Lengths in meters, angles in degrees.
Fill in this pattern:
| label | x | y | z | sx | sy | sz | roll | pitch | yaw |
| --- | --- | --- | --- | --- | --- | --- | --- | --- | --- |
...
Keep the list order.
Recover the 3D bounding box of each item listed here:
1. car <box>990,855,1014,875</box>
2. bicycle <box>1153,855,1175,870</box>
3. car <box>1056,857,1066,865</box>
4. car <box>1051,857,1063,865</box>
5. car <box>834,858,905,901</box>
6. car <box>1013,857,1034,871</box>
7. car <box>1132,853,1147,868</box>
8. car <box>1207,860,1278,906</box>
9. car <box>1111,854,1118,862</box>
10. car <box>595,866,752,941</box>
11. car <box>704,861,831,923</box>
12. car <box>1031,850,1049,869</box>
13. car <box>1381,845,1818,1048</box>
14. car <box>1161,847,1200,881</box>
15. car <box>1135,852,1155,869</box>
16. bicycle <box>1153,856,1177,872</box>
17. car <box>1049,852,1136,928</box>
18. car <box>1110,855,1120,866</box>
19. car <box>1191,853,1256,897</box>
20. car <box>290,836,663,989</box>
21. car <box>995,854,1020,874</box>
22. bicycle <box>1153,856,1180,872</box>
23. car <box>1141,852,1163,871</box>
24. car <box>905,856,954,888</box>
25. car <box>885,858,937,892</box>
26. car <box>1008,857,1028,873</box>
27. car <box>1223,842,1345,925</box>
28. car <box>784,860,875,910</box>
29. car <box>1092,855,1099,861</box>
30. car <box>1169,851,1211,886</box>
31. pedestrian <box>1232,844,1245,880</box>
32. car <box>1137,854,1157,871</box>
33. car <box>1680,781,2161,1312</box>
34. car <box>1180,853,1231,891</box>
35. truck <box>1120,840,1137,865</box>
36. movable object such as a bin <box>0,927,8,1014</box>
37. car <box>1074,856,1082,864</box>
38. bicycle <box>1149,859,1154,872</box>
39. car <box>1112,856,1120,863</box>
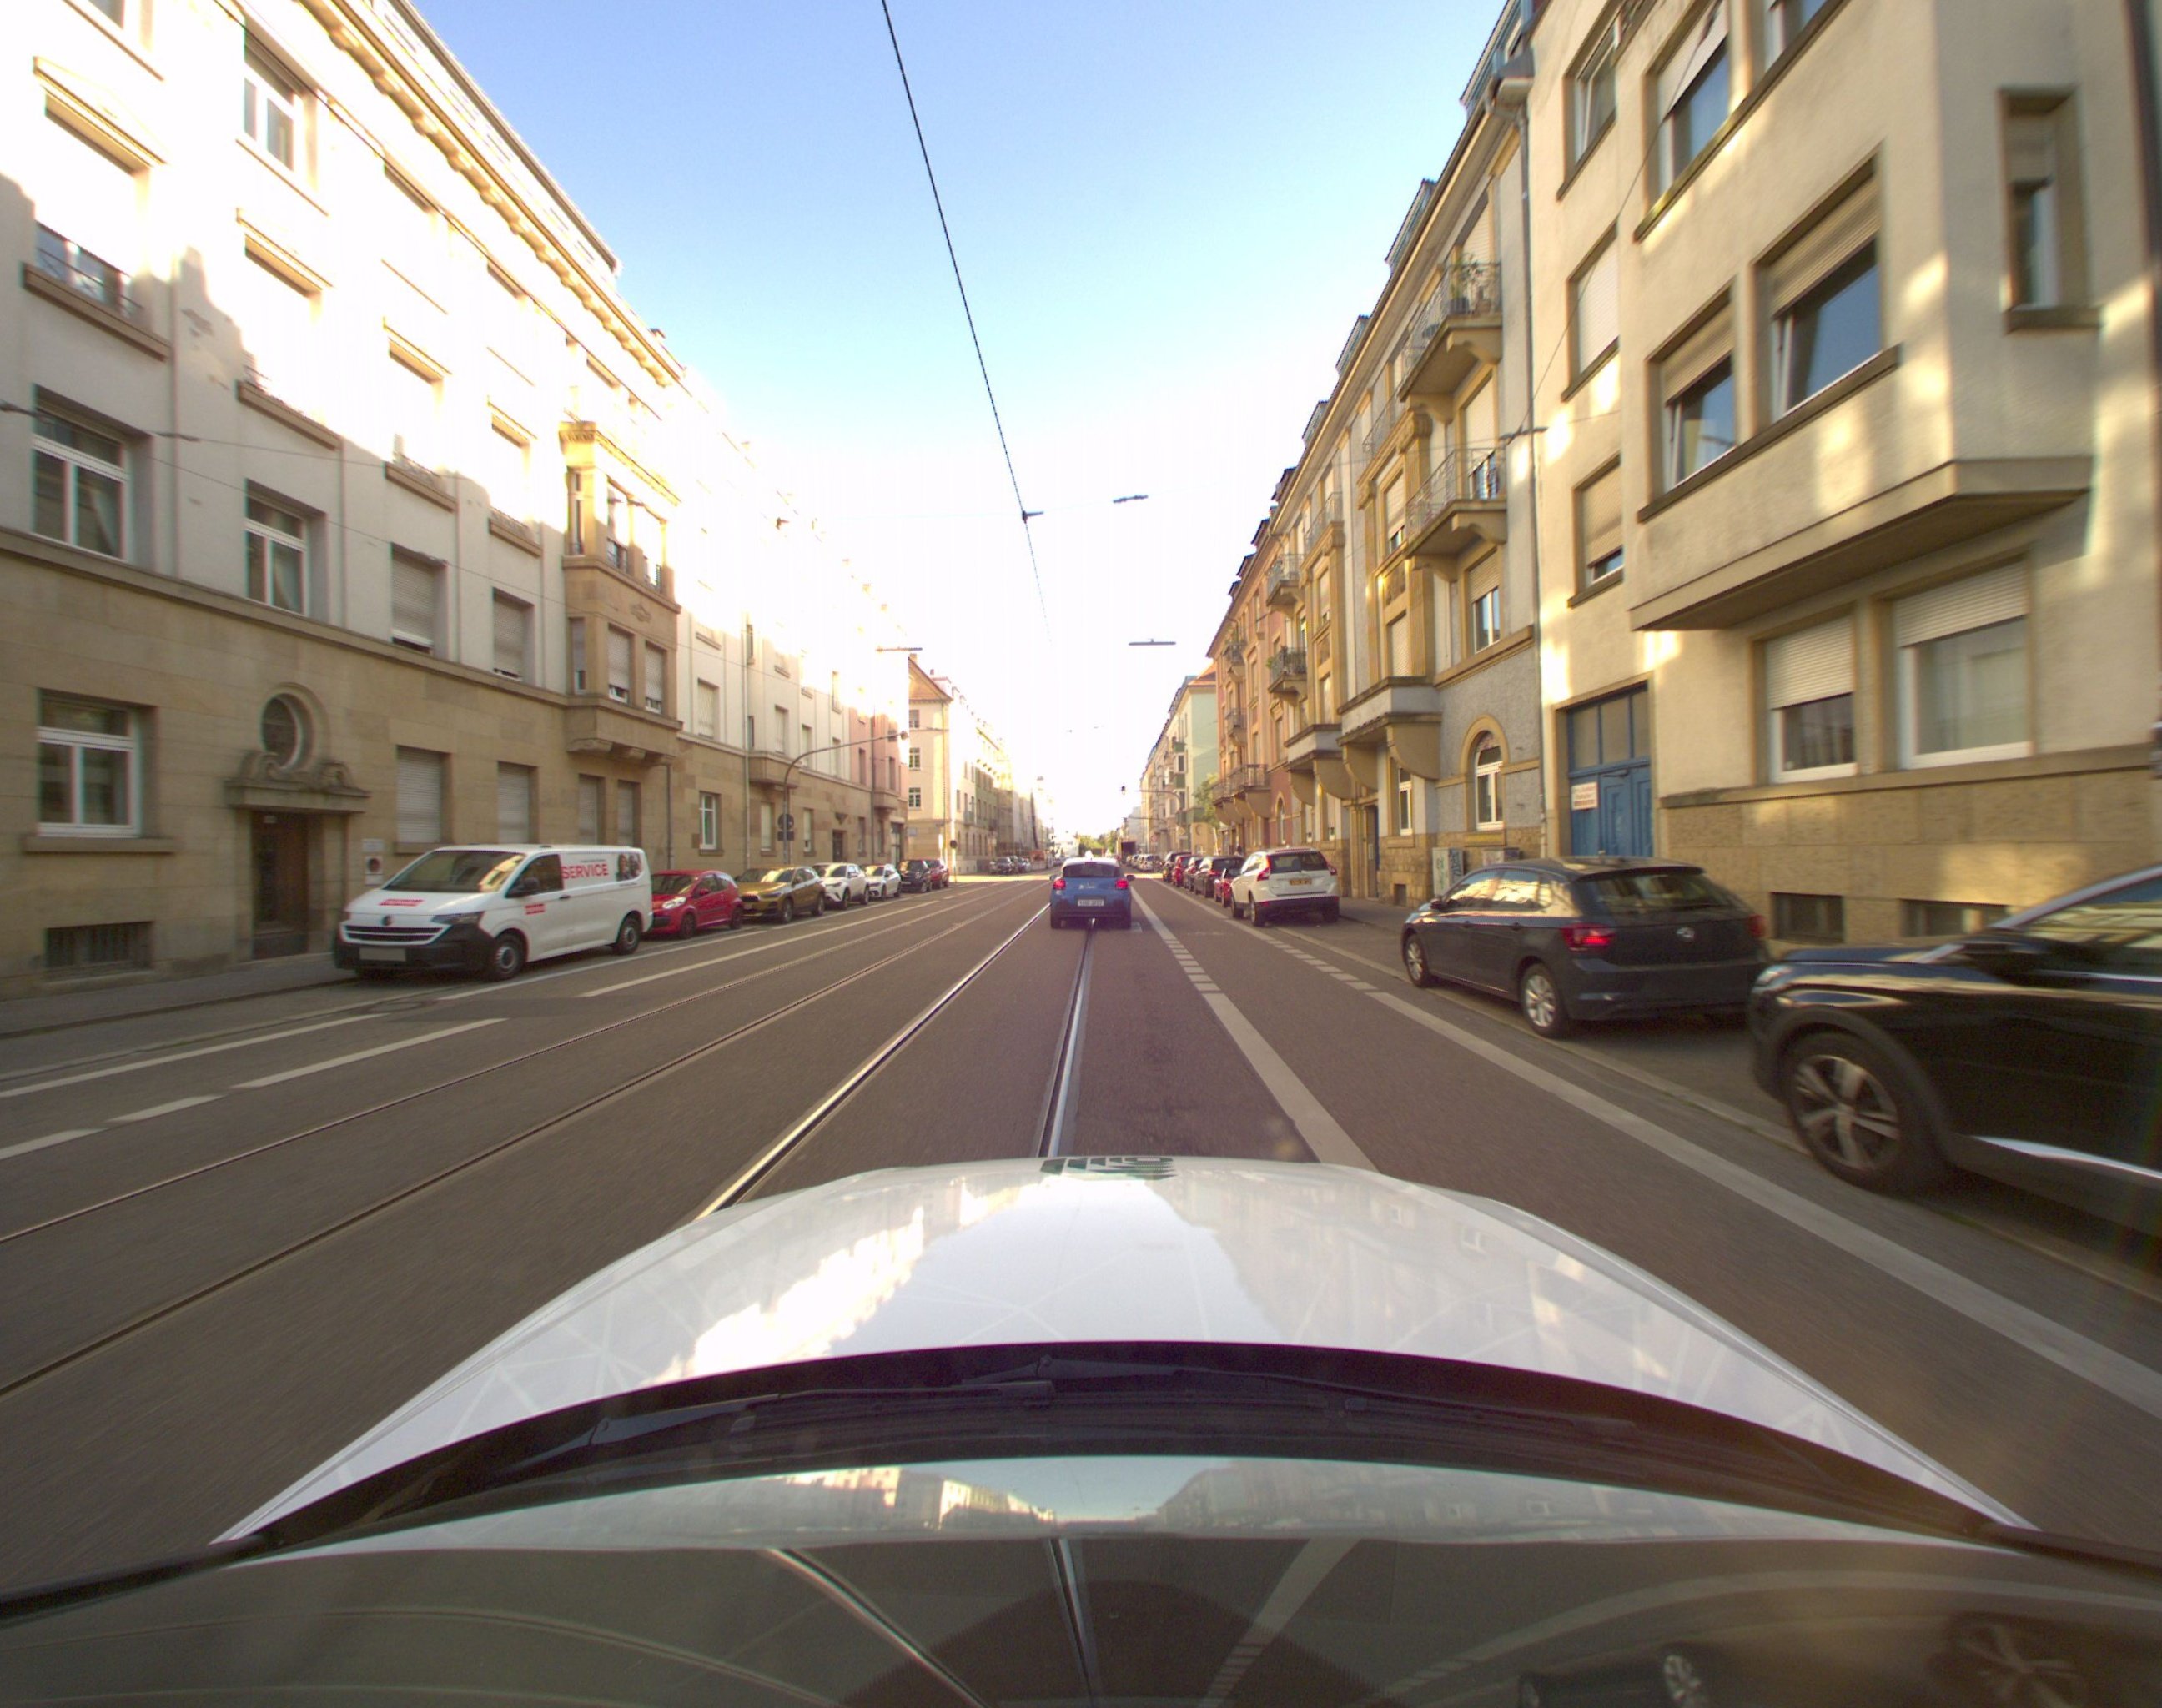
| label | x | y | z | sx | sy | sz | roll | pitch | yaw |
| --- | --- | --- | --- | --- | --- | --- | --- | --- | --- |
| car | -7.158 | 0.978 | 74.071 | 1.777 | 1.690 | 4.667 | 1 | 0 | 0 |
| bicycle | 6.953 | 0.731 | 68.456 | 1.716 | 1.154 | 0.469 | -5 | 0 | 2 |
| car | -4.347 | 1.412 | 175.581 | 1.819 | 1.632 | 3.906 | -2 | 0 | 1 |
| car | -4.564 | 1.322 | 155.501 | 1.819 | 1.632 | 4.851 | -2 | 0 | 2 |
| car | -8.581 | 0.986 | 33.401 | 1.777 | 1.622 | 4.178 | 1 | 0 | 0 |
| car | -6.477 | 1.106 | 91.938 | 1.711 | 1.502 | 4.391 | 1 | 0 | 3 |
| car | 7.349 | 0.846 | 102.924 | 1.724 | 1.827 | 4.688 | -2 | 0 | 2 |
| car | 5.004 | 0.859 | 25.706 | 1.647 | 1.249 | 4.510 | -1 | 0 | 4 |
| car | 9.739 | 1.187 | 237.193 | 2.211 | 2.284 | 4.085 | -2 | 0 | 2 |
| car | -9.060 | 1.040 | 18.448 | 1.597 | 1.472 | 3.647 | 1 | 0 | 2 |
| car | -8.599 | 0.983 | 22.782 | 1.777 | 1.523 | 4.360 | 1 | 0 | 1 |
| car | -5.511 | 0.680 | 109.262 | 2.138 | 2.475 | 4.979 | -1 | 0 | 0 |
| car | 4.520 | 0.680 | 7.950 | 1.731 | 1.441 | 4.033 | -1 | 0 | 1 |
| car | 5.636 | 0.555 | 46.697 | 1.746 | 1.735 | 4.509 | -5 | 0 | 2 |
| car | 7.083 | 0.738 | 90.537 | 1.651 | 1.752 | 4.598 | -2 | 0 | -3 |
| bicycle | 6.903 | 0.806 | 66.670 | 1.836 | 1.154 | 0.469 | -5 | 0 | 1 |
| car | 0.308 | 0.728 | 18.377 | 1.728 | 1.507 | 3.994 | 1 | 0 | 2 |
| car | 6.323 | 1.195 | 151.762 | 1.814 | 1.894 | 4.002 | -1 | 0 | 2 |
| car | 5.196 | 0.719 | 30.111 | 1.648 | 1.483 | 4.474 | -1 | 0 | 1 |
| car | -9.079 | 0.753 | 13.048 | 1.966 | 1.949 | 5.252 | 1 | 0 | 1 |
| car | -7.039 | 0.950 | 78.662 | 1.776 | 1.816 | 4.531 | 1 | 0 | 3 |
| bicycle | 6.907 | 0.840 | 65.982 | 2.078 | 1.154 | 0.848 | -4 | 0 | 2 |
| car | 6.410 | 0.646 | 73.734 | 1.777 | 1.632 | 4.002 | -2 | 0 | 2 |
| car | -8.094 | 0.917 | 43.845 | 1.777 | 1.606 | 4.396 | 1 | 0 | 0 |
| car | -8.133 | 0.966 | 39.201 | 1.776 | 1.553 | 3.020 | 1 | 0 | 2 |
| car | -6.588 | 1.179 | 85.902 | 1.777 | 1.627 | 4.608 | 1 | 0 | 0 |
| car | 4.577 | 0.614 | 19.042 | 1.836 | 1.691 | 4.507 | -1 | 0 | 2 |
| car | -8.550 | 1.008 | 28.116 | 1.766 | 1.547 | 4.365 | 1 | 0 | 0 |
| car | 4.199 | 1.132 | 232.212 | 1.819 | 1.632 | 4.492 | -2 | 0 | 2 |
| car | 5.350 | 0.690 | 40.384 | 1.746 | 1.594 | 3.732 | -1 | 0 | 3 |
| pedestrian | 7.567 | 0.382 | 39.150 | 0.511 | 1.687 | 0.448 | -1 | 0 | 1 |
| car | 6.406 | 0.815 | 79.620 | 1.777 | 1.576 | 4.328 | -2 | 0 | 2 |
| car | 4.293 | 0.583 | 2.396 | 1.851 | 1.665 | 4.565 | -1 | 0 | 3 |
| car | 5.317 | 0.721 | 35.214 | 1.648 | 1.513 | 4.476 | -1 | 0 | 2 |
| truck | 8.364 | -0.227 | 144.762 | 2.841 | 4.083 | 11.279 | -2 | 0 | 3 |
| movable object such as a bin | -11.561 | 1.215 | 8.279 | 0.610 | 0.900 | 0.518 | -1 | 0 | 1 |
| car | -0.687 | 1.389 | 191.520 | 1.819 | 1.632 | 4.492 | -2 | 0 | 2 |
| bicycle | 6.006 | 0.946 | 68.954 | 0.351 | 1.044 | 1.730 | -1 | 0 | 3 |
| car | 7.573 | 1.257 | 177.942 | 1.758 | 1.487 | 4.033 | -2 | 0 | 2 |
